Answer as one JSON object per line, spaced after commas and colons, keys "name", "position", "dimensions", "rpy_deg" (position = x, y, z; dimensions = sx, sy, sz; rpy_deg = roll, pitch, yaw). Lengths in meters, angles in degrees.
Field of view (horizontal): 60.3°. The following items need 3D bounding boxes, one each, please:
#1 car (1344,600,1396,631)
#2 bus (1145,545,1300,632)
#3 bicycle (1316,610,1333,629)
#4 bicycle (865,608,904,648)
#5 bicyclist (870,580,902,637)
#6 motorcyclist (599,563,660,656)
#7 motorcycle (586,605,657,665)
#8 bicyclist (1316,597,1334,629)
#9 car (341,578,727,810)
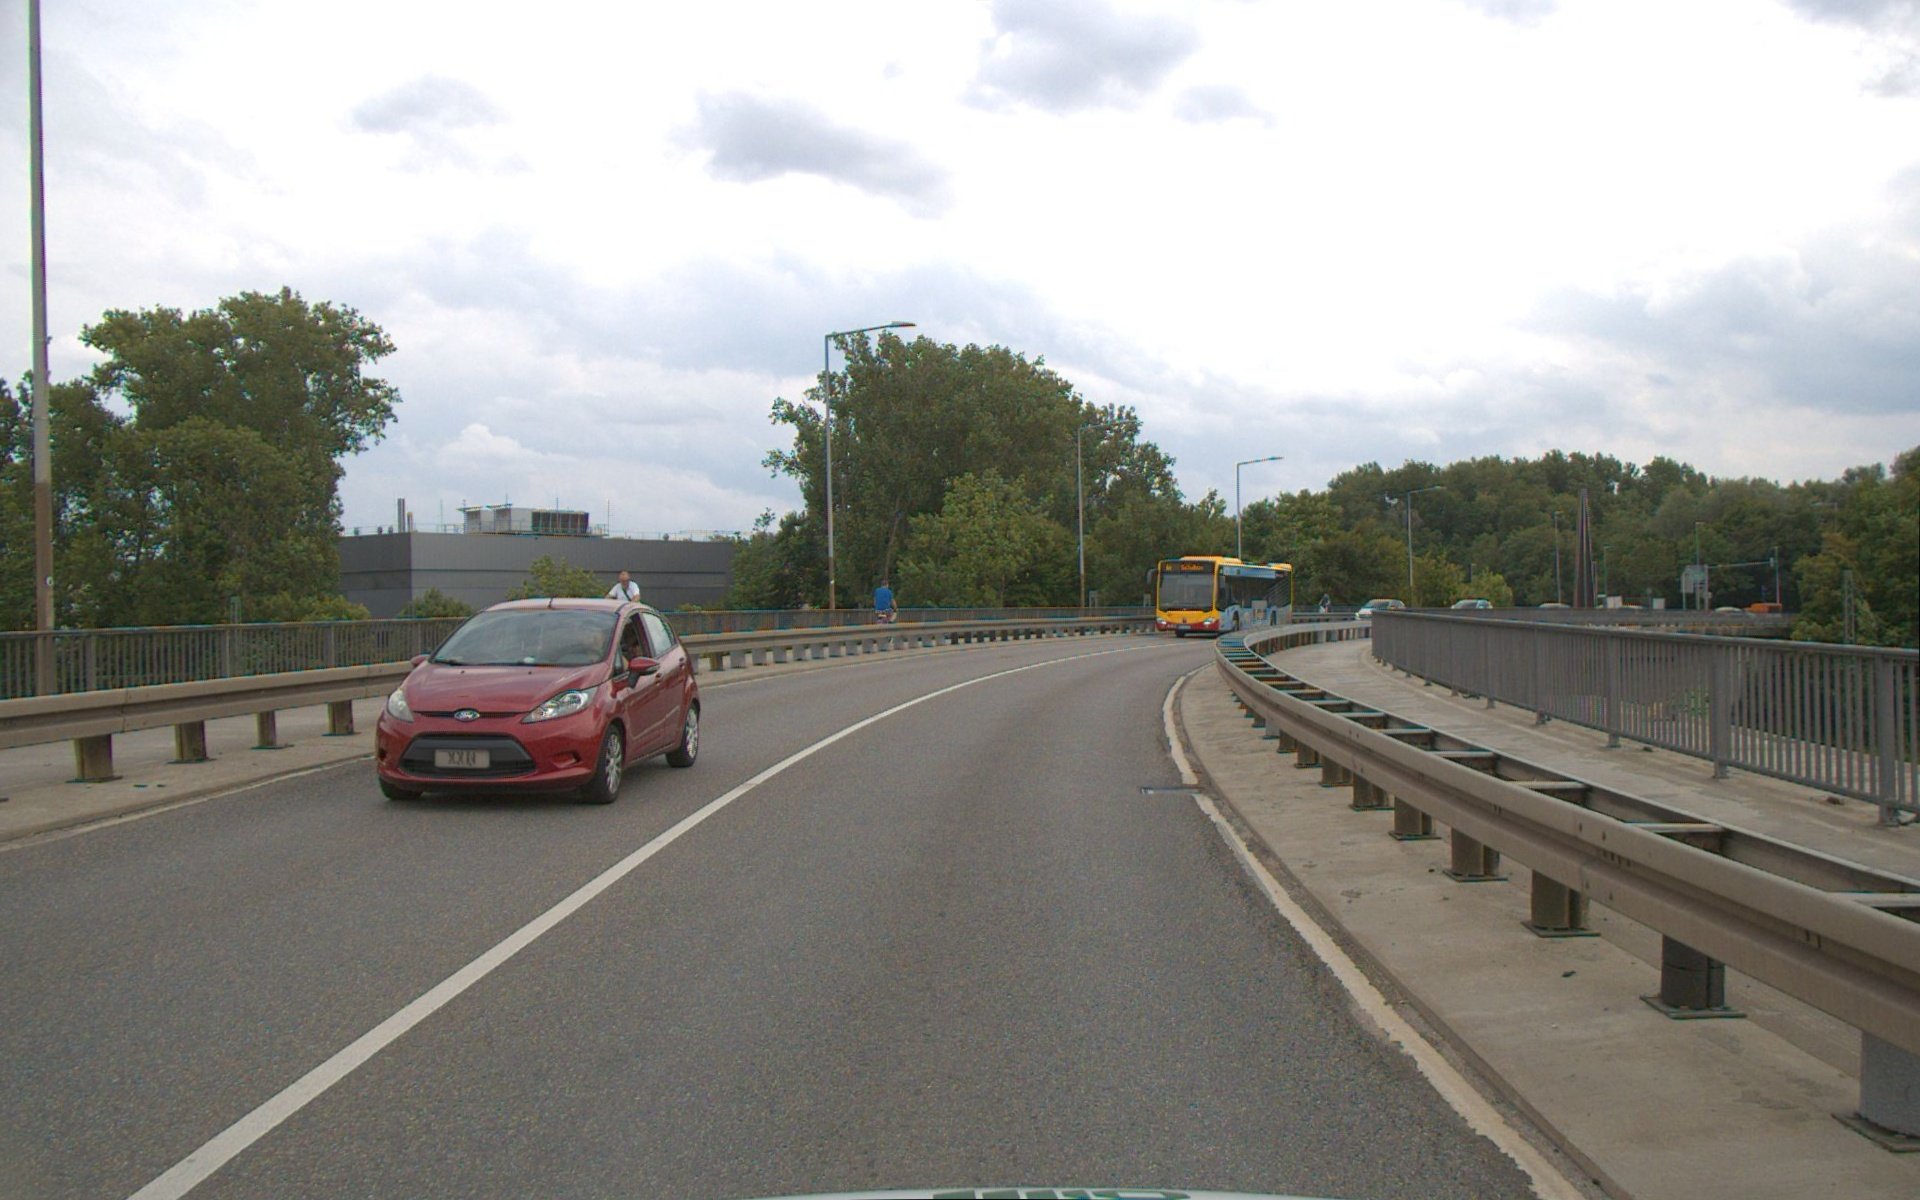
{"name": "car", "position": [22.792, 0.863, 91.814], "dimensions": [1.783, 1.648, 4.391], "rpy_deg": [0, -1, 28]}
{"name": "bus", "position": [11.182, -0.342, 68.899], "dimensions": [2.972, 3.290, 12.941], "rpy_deg": [0, -1, 25]}
{"name": "bicycle", "position": [21.242, 1.153, 96.299], "dimensions": [0.633, 1.086, 1.760], "rpy_deg": [0, -1, 24]}
{"name": "bicycle", "position": [-2.062, 0.768, 45.277], "dimensions": [0.482, 1.063, 1.811], "rpy_deg": [0, -1, 17]}
{"name": "bicyclist", "position": [-2.032, 0.234, 45.261], "dimensions": [0.598, 1.567, 0.757], "rpy_deg": [0, -1, 22]}
{"name": "motorcyclist", "position": [-5.682, 0.165, 28.437], "dimensions": [0.792, 1.556, 0.825], "rpy_deg": [1, -1, 6]}
{"name": "motorcycle", "position": [-5.783, 0.588, 28.318], "dimensions": [0.612, 0.980, 1.841], "rpy_deg": [1, -1, 7]}
{"name": "bicyclist", "position": [21.243, 0.776, 96.243], "dimensions": [0.831, 1.840, 0.796], "rpy_deg": [0, -1, 24]}
{"name": "car", "position": [-3.121, 0.639, 12.999], "dimensions": [1.722, 1.518, 4.002], "rpy_deg": [1, -1, 4]}
